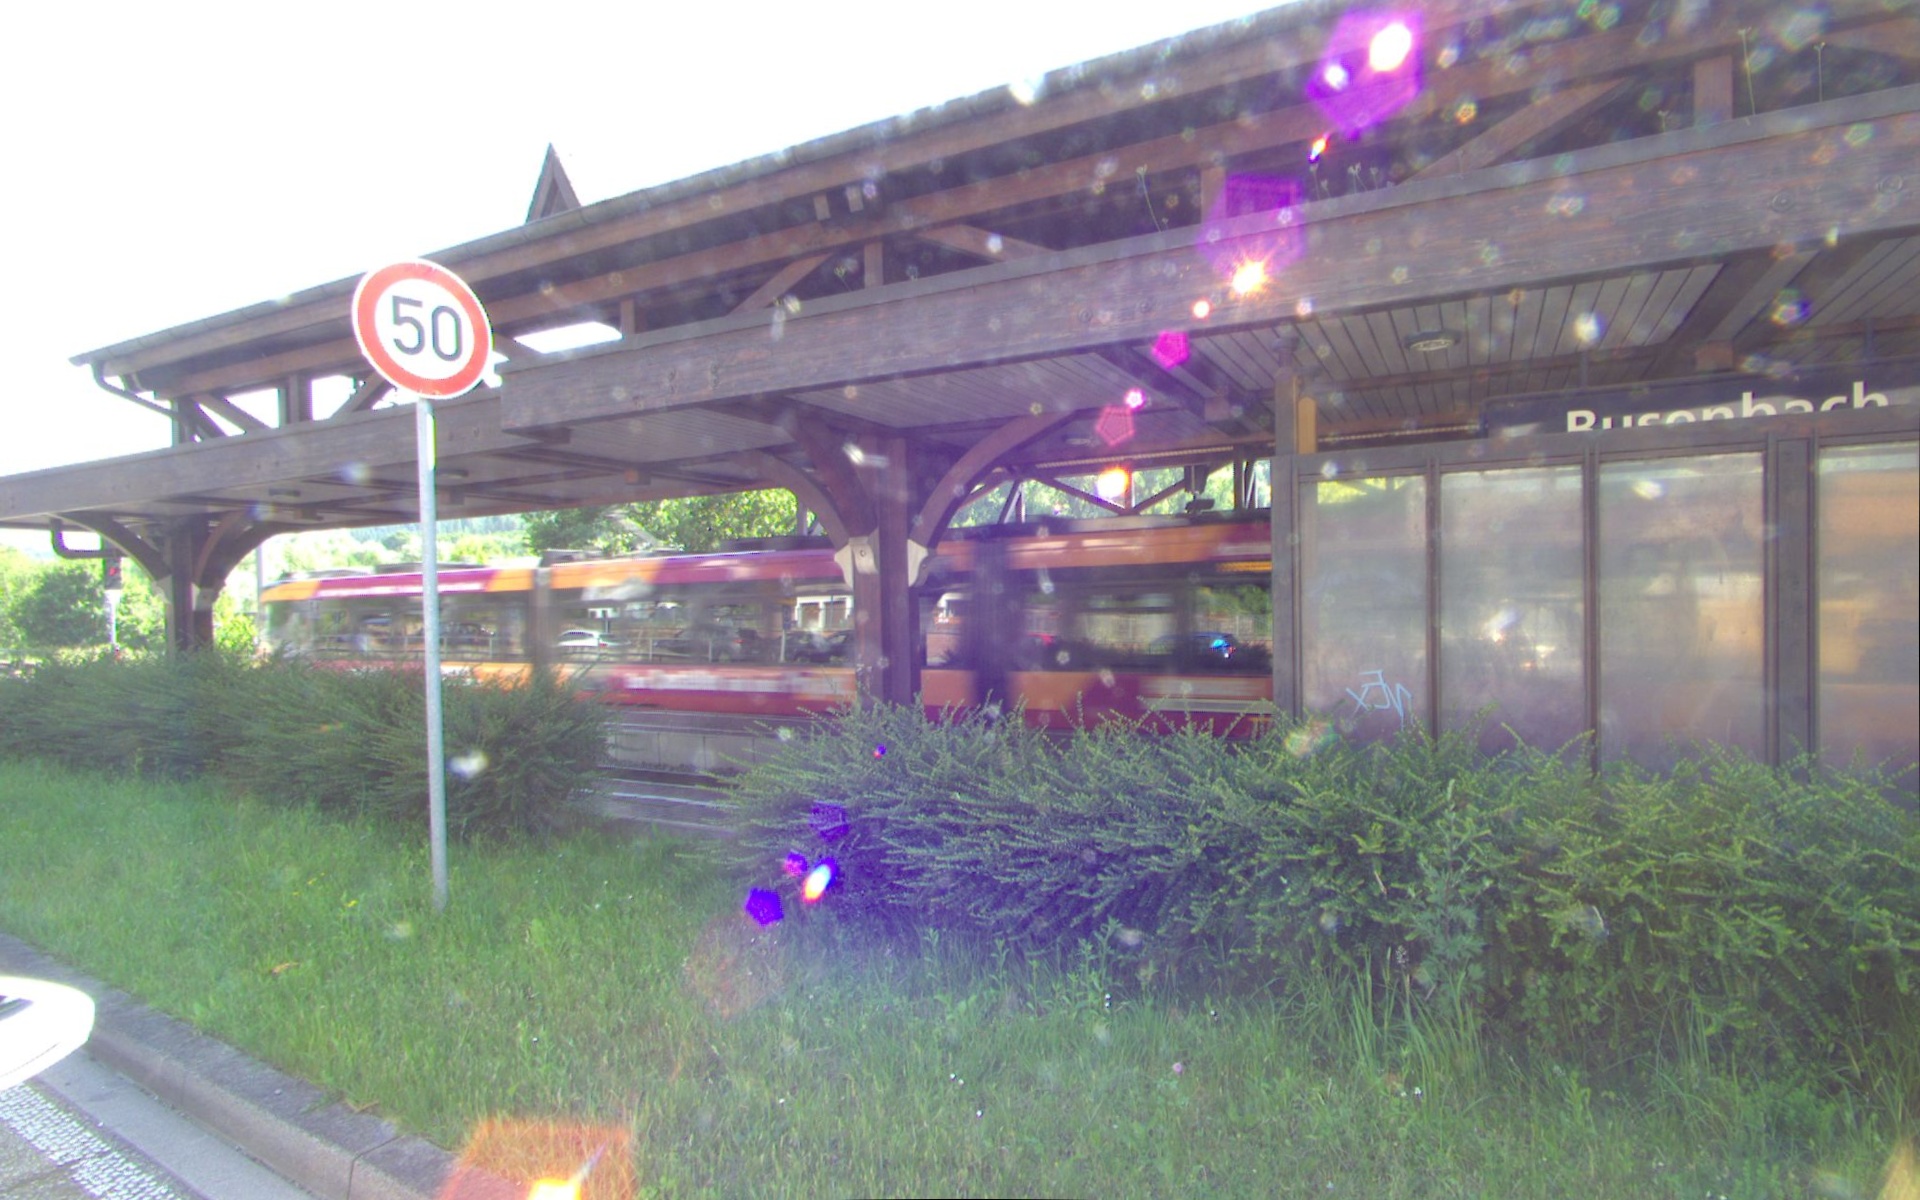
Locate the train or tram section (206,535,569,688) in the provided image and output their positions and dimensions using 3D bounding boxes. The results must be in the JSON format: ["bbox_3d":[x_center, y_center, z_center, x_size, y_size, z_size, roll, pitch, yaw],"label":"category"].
[{"bbox_3d":[-15.498,0.311,26.553,11.867,3.407,2.753,0,-2,30],"label":"train or tram section"}]

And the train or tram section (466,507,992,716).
[{"bbox_3d":[-5.208,0.333,20.550,11.869,3.406,2.784,-1,-2,31],"label":"train or tram section"}]

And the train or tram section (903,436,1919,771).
[{"bbox_3d":[5.910,0.111,14.047,14.137,3.408,2.853,-1,-1,30],"label":"train or tram section"}]
